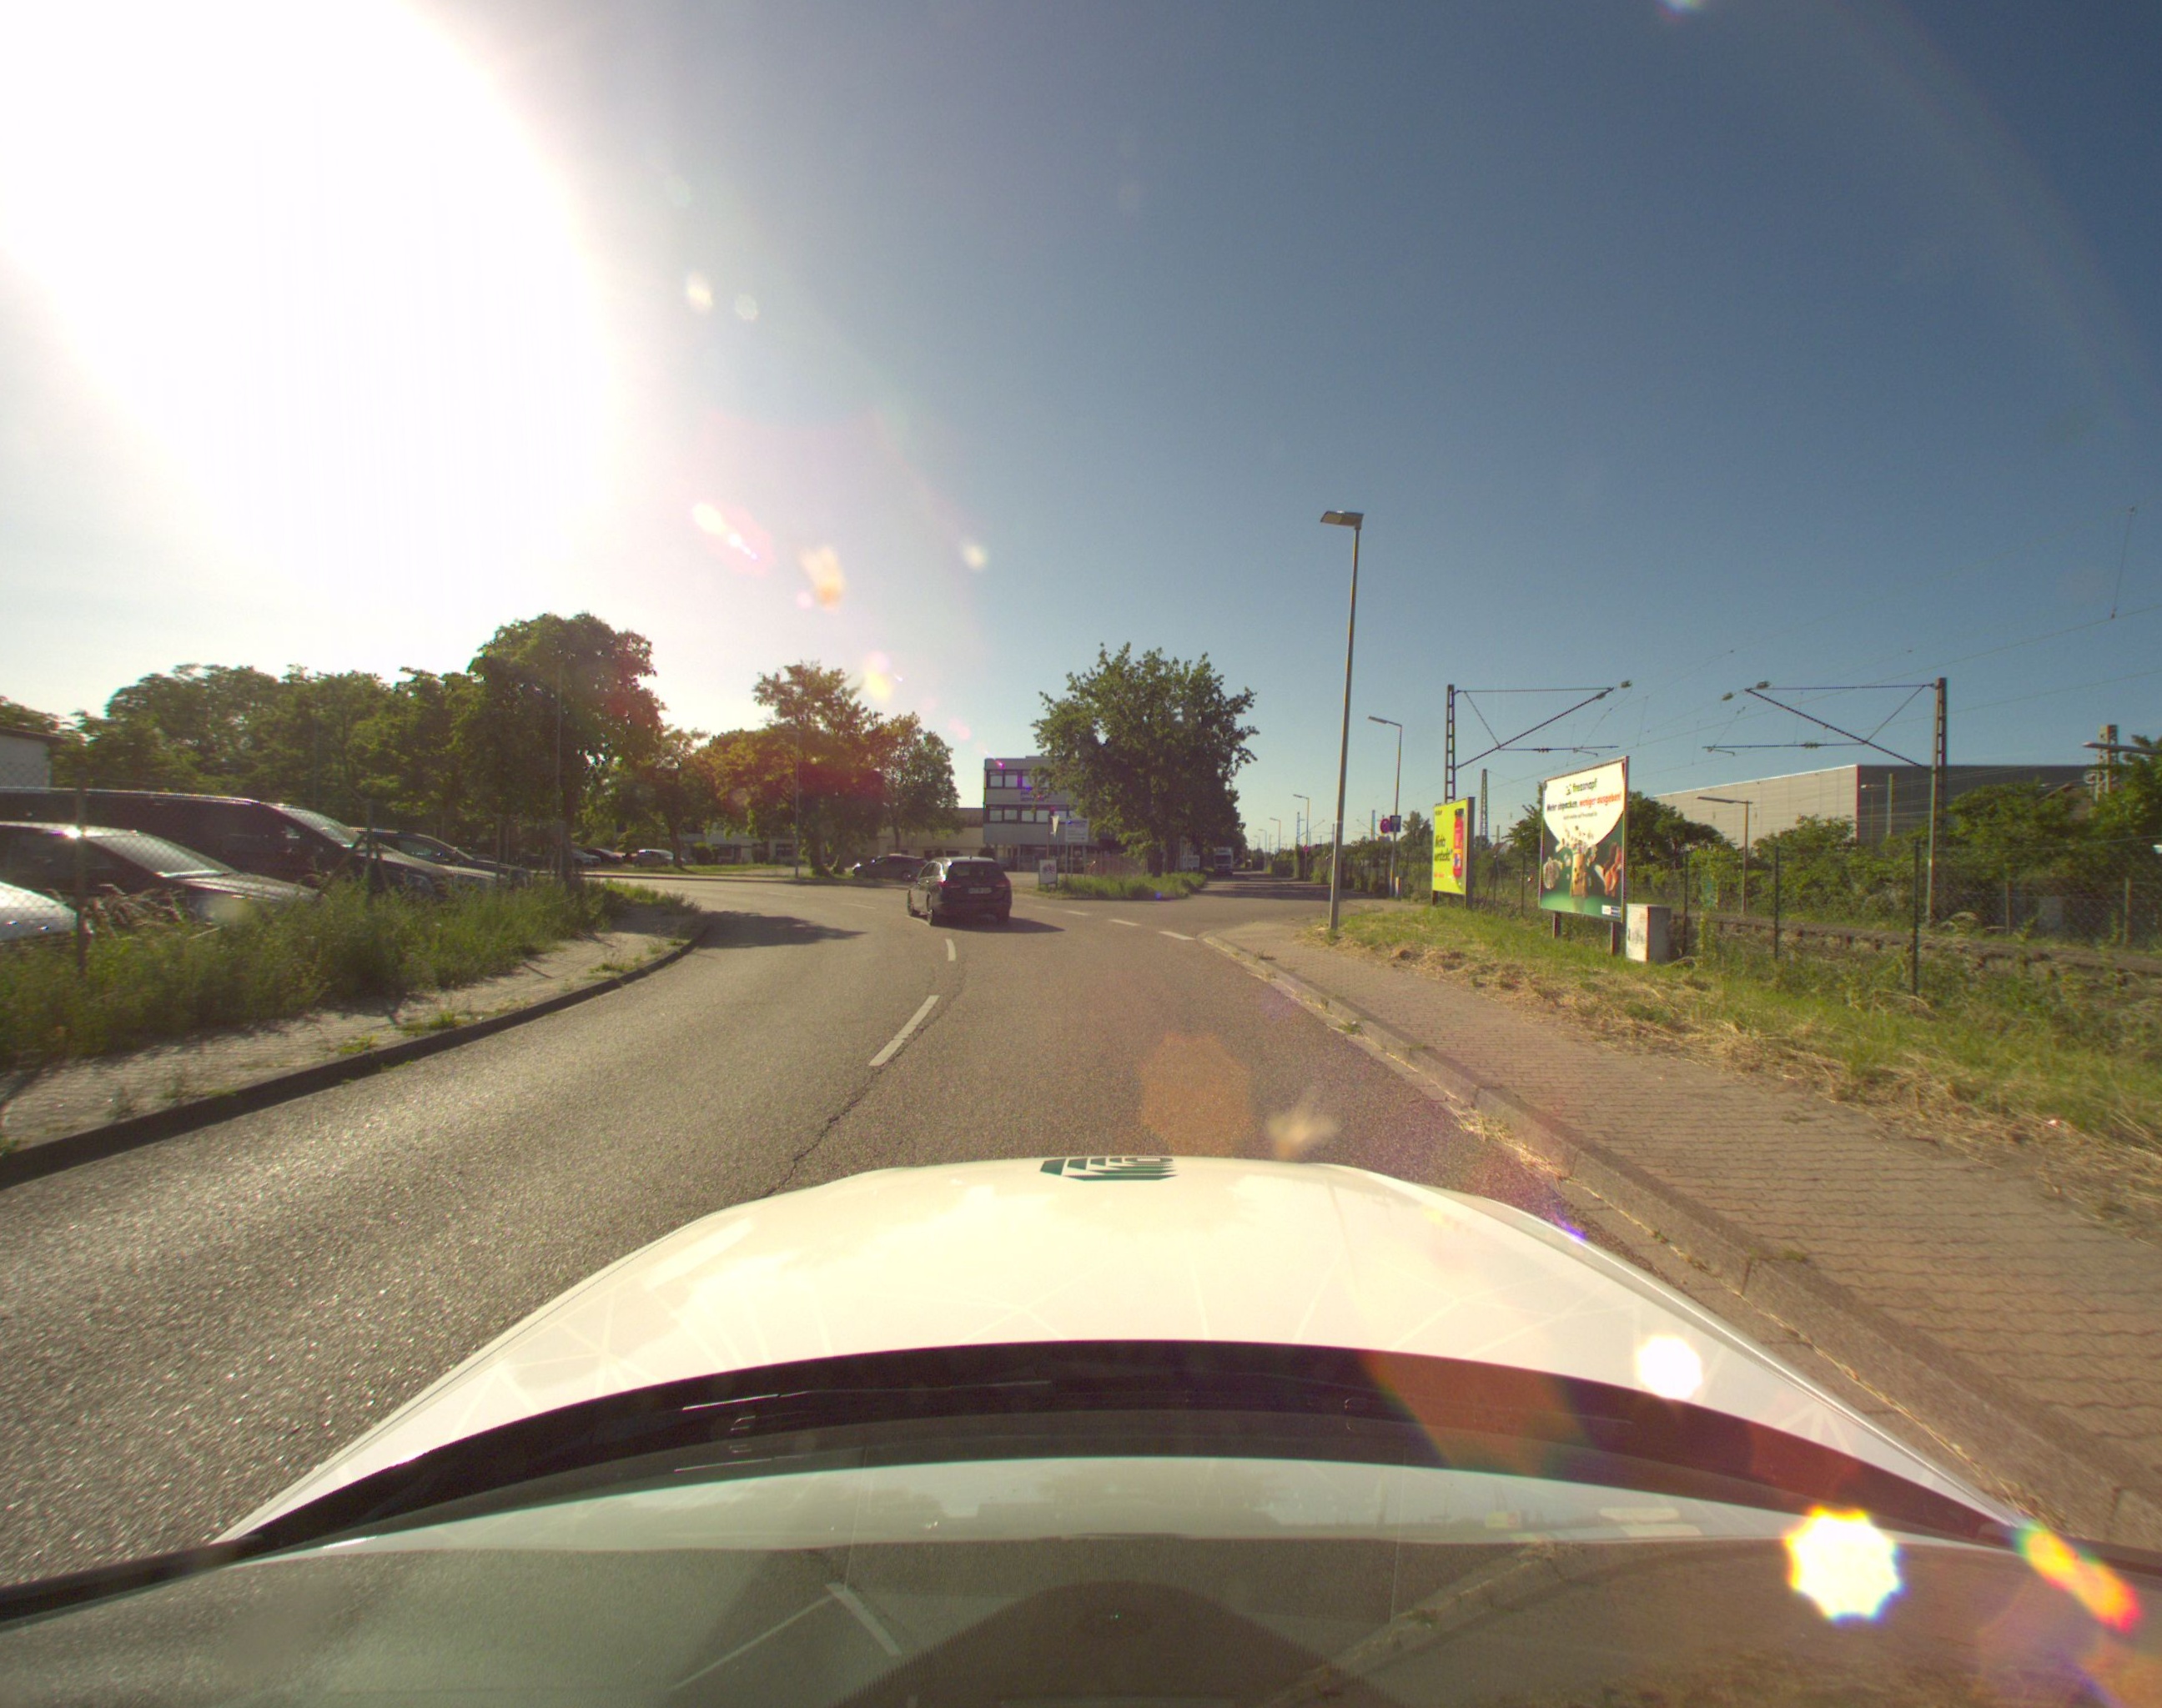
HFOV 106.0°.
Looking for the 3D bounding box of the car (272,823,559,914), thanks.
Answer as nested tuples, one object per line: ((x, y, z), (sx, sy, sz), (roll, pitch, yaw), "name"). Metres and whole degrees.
((-13.648, 0.282, 16.929), (4.428, 1.648, 1.818), (1, 0, -44), "car")

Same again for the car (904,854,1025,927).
((-2.878, 0.750, 19.219), (1.949, 1.488, 4.535), (0, 0, -20), "car")

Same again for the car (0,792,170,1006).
((-10.550, 0.309, 6.297), (4.391, 1.648, 1.833), (1, 0, -11), "car")

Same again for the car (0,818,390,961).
((-10.910, 0.358, 9.164), (4.412, 1.436, 1.824), (1, 0, -27), "car")

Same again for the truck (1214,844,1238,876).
((19.199, 0.848, 108.515), (2.598, 3.885, 13.563), (2, 0, 9), "truck")

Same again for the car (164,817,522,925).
((-12.605, 0.287, 14.389), (4.421, 1.648, 1.821), (1, 0, -34), "car")

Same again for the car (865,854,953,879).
((-10.666, 0.767, 50.679), (4.881, 1.484, 2.005), (1, 0, 9), "car")

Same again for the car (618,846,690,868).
((-31.846, 0.225, 60.719), (4.869, 1.484, 2.010), (1, 0, 20), "car")

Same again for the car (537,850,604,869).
((-41.397, 0.439, 66.086), (4.869, 1.484, 2.010), (1, 0, 20), "car")

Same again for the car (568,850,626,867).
((-45.025, 0.371, 75.783), (4.869, 1.484, 2.010), (1, 0, 20), "car")

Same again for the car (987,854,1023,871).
((-7.372, 0.828, 79.525), (1.980, 1.484, 4.944), (1, 1, 13), "car")

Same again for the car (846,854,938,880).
((-11.139, 0.772, 48.112), (4.881, 1.426, 2.005), (1, 0, 9), "car")

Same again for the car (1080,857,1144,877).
((2.535, 1.048, 66.118), (4.875, 1.484, 2.008), (1, 1, 14), "car")

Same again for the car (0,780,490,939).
((-11.468, 0.096, 11.415), (4.860, 1.892, 1.825), (1, 0, -26), "car")
